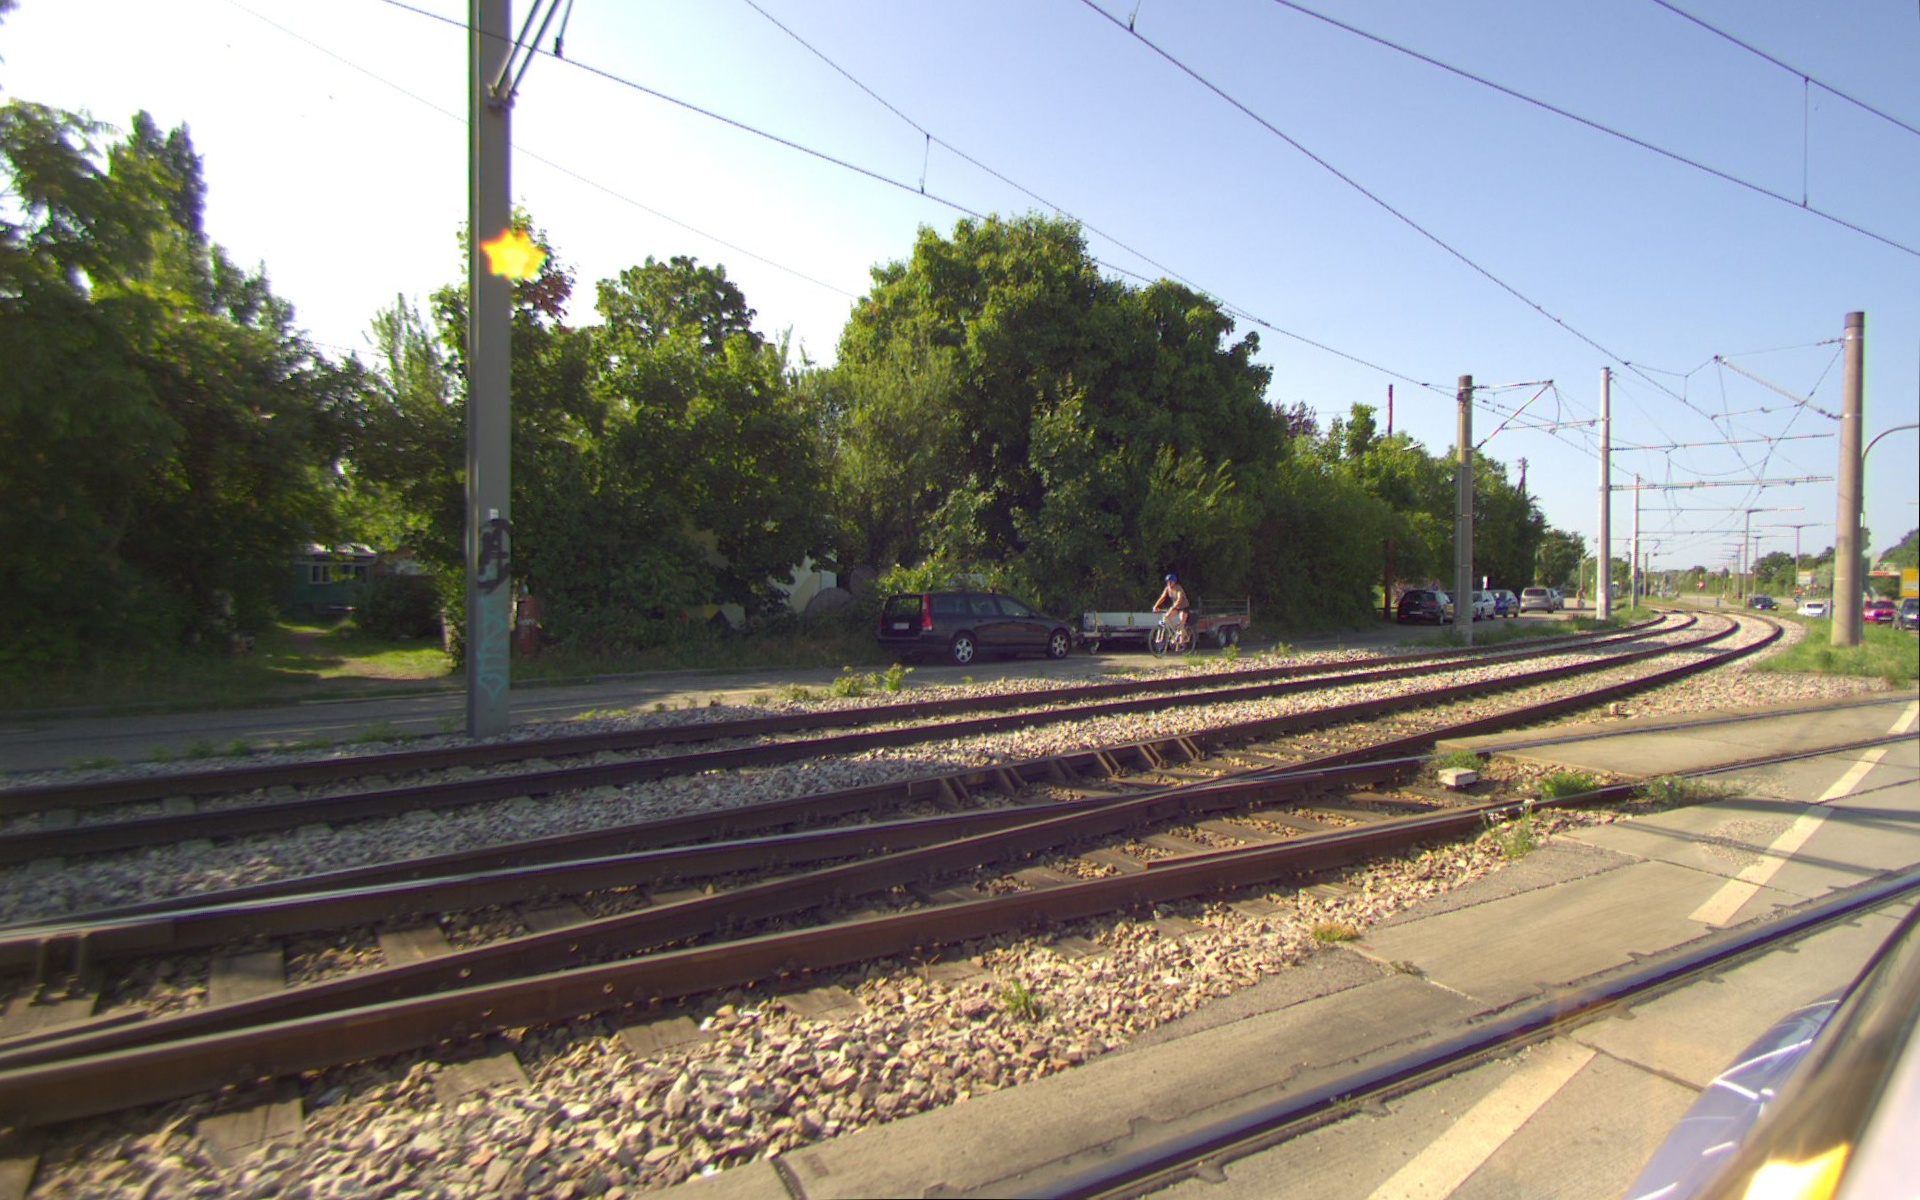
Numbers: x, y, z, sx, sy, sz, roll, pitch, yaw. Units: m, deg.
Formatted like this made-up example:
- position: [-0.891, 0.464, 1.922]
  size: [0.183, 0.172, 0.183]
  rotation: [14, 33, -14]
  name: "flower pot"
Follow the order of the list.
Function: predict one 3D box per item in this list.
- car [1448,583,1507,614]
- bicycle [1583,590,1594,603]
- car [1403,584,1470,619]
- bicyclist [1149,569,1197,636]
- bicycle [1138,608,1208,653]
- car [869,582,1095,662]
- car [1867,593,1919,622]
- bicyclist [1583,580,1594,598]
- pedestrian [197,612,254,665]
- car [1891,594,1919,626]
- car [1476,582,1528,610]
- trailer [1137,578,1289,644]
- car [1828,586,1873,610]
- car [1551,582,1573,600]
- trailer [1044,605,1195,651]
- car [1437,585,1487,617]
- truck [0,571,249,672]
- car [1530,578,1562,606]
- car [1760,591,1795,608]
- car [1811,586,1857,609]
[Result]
- position: [26.041, -0.091, 50.837]
  size: [1.707, 1.483, 4.326]
  rotation: [2, 1, 40]
  name: "car"
- position: [44.976, -0.229, 72.420]
  size: [0.640, 0.921, 1.792]
  rotation: [0, 0, 33]
  name: "bicycle"
- position: [20.281, 0.037, 42.989]
  size: [1.619, 1.428, 4.460]
  rotation: [-1, 0, 38]
  name: "car"
- position: [4.705, 0.054, 22.368]
  size: [0.629, 1.440, 0.947]
  rotation: [0, 0, 45]
  name: "bicyclist"
- position: [4.736, 0.663, 22.406]
  size: [0.643, 0.921, 1.814]
  rotation: [0, 1, 45]
  name: "bicycle"
- position: [0.555, 0.421, 20.946]
  size: [4.795, 1.475, 1.701]
  rotation: [0, -1, -41]
  name: "car"
- position: [53.747, 0.394, 58.280]
  size: [1.838, 1.616, 3.690]
  rotation: [-1, 0, 36]
  name: "car"
- position: [44.963, -0.792, 72.402]
  size: [0.637, 1.248, 0.782]
  rotation: [0, 0, 34]
  name: "bicyclist"
- position: [-17.691, 0.912, 24.369]
  size: [0.759, 1.203, 0.982]
  rotation: [-1, 1, 44]
  name: "pedestrian"
- position: [43.196, 0.421, 45.280]
  size: [1.838, 1.372, 4.098]
  rotation: [-1, 0, 37]
  name: "car"
- position: [29.724, -0.223, 55.453]
  size: [1.677, 1.448, 3.852]
  rotation: [-1, 0, 42]
  name: "car"
- position: [6.823, 0.267, 27.112]
  size: [4.190, 1.617, 2.027]
  rotation: [-1, -1, -44]
  name: "trailer"
- position: [59.403, -0.129, 67.564]
  size: [1.597, 1.532, 4.217]
  rotation: [-1, 0, 33]
  name: "car"
- position: [50.533, -0.739, 84.909]
  size: [1.527, 1.466, 4.085]
  rotation: [2, 2, 31]
  name: "car"
- position: [3.891, 0.656, 24.426]
  size: [3.666, 0.951, 1.732]
  rotation: [-1, -1, -44]
  name: "trailer"
- position: [23.248, 0.010, 46.820]
  size: [1.480, 1.418, 4.098]
  rotation: [1, 1, 35]
  name: "car"
- position: [-17.659, 0.369, 20.356]
  size: [5.315, 1.878, 1.996]
  rotation: [-1, 1, -42]
  name: "truck"
- position: [37.353, -0.518, 64.473]
  size: [1.516, 1.630, 4.431]
  rotation: [2, 2, 33]
  name: "car"
- position: [73.793, -0.062, 91.404]
  size: [1.823, 1.532, 4.109]
  rotation: [-1, 0, 30]
  name: "car"
- position: [64.362, -0.211, 74.593]
  size: [1.955, 1.639, 4.258]
  rotation: [0, 1, 33]
  name: "car"
